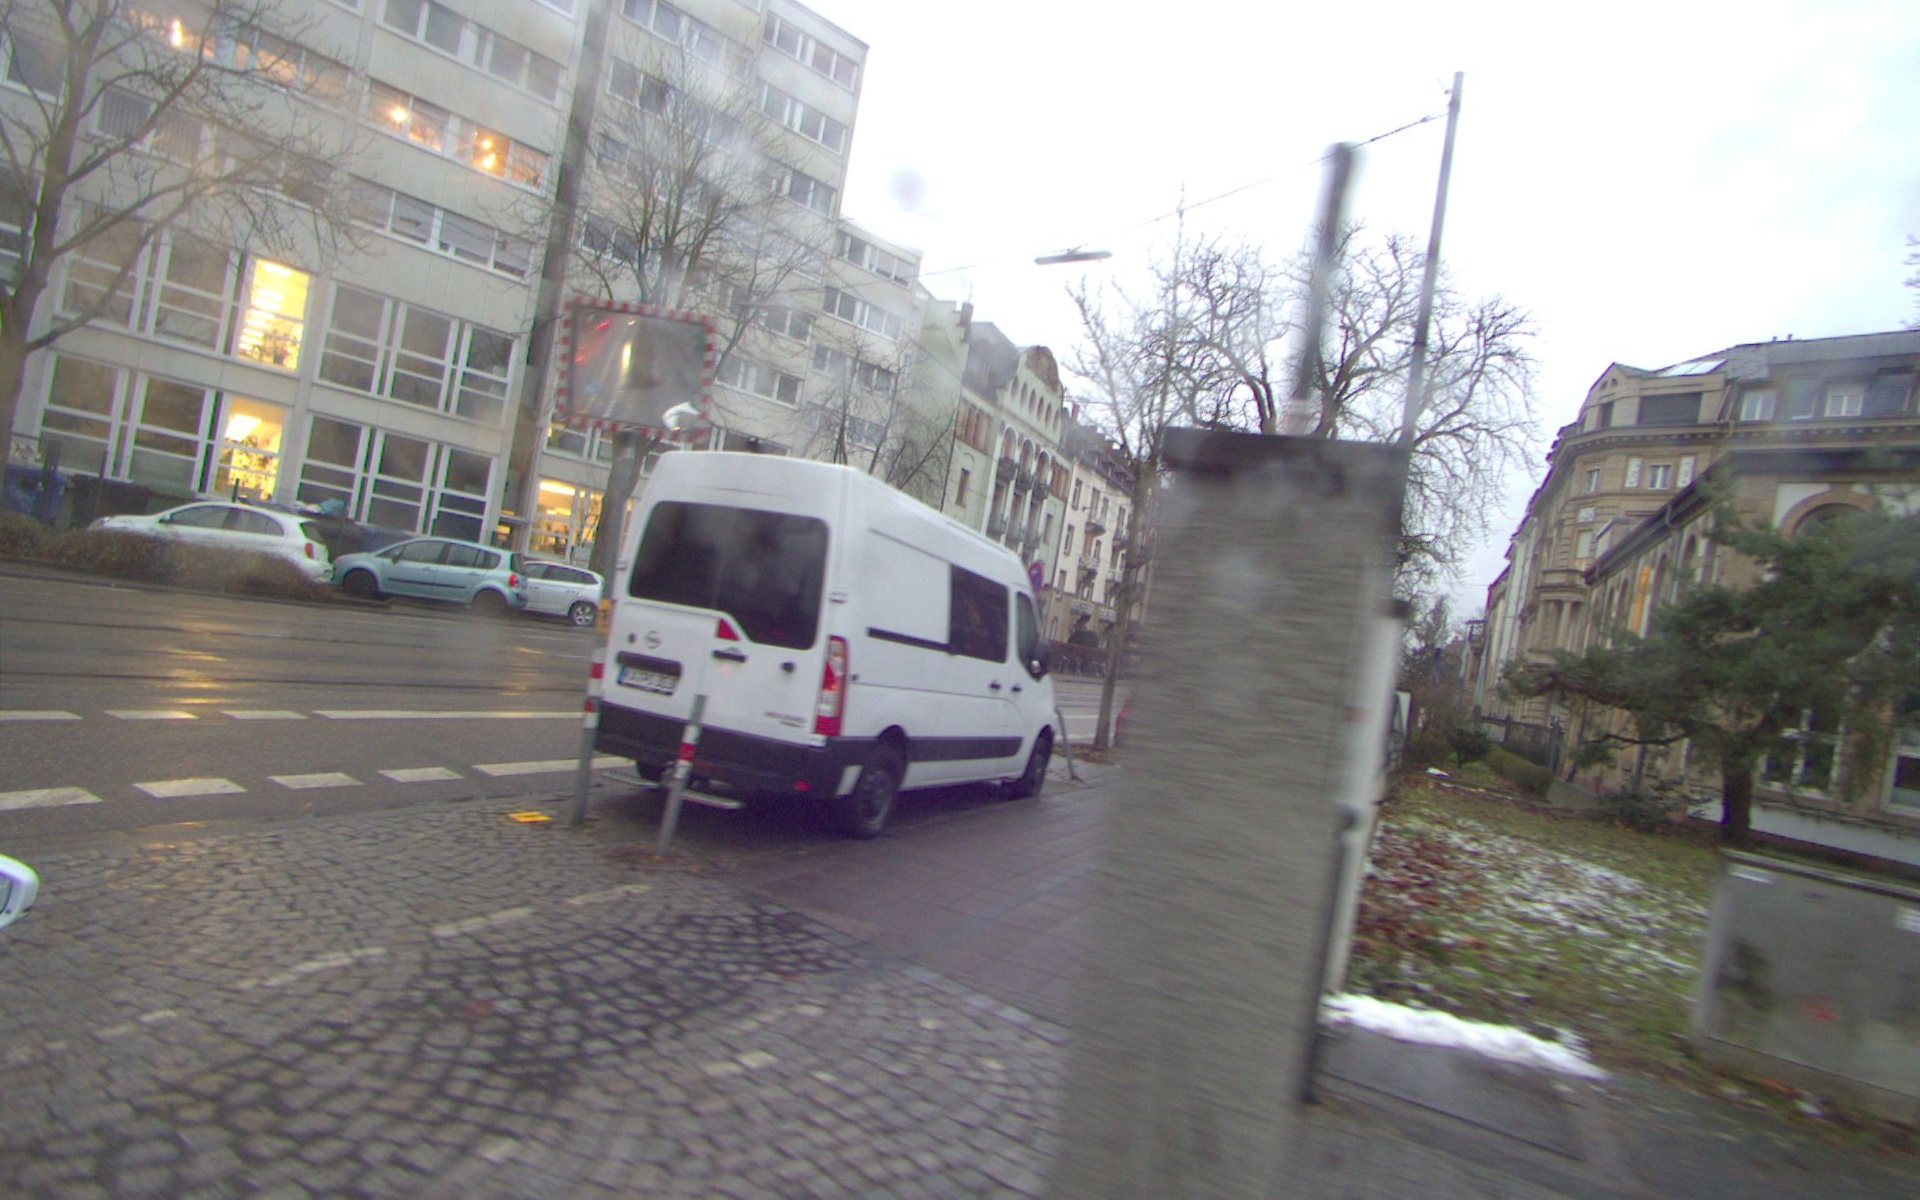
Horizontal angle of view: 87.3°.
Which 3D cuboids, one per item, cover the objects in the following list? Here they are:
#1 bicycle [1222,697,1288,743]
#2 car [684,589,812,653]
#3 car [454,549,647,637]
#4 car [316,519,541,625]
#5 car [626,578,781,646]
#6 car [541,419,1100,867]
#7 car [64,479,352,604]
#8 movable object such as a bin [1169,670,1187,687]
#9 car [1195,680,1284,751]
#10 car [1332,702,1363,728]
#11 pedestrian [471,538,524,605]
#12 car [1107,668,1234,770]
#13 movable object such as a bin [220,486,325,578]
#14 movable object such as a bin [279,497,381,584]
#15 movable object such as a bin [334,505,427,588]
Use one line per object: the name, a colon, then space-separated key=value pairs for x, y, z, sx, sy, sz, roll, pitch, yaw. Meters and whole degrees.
bicycle: x=8.908 y=3.613 z=30.381 sx=1.688 sy=1.083 sz=0.663 roll=9 pitch=0 yaw=26
car: x=-7.061 y=0.711 z=33.748 sx=3.935 sy=1.479 sz=1.735 roll=10 pitch=-2 yaw=-10
car: x=-10.034 y=-0.143 z=24.919 sx=3.933 sy=1.459 sz=1.736 roll=10 pitch=-2 yaw=-8
car: x=-11.562 y=-0.585 z=22.200 sx=3.943 sy=1.581 sz=1.731 roll=10 pitch=-1 yaw=-17
car: x=-7.875 y=0.371 z=30.929 sx=4.294 sy=1.367 sz=1.741 roll=10 pitch=-2 yaw=-23
car: x=-0.642 y=0.412 z=8.841 sx=2.092 sy=2.515 sz=5.441 roll=9 pitch=-1 yaw=23
car: x=-13.913 y=-1.036 z=18.887 sx=3.824 sy=1.569 sz=1.685 roll=10 pitch=-1 yaw=-20
movable object such as a bin: x=23.048 y=8.306 z=106.268 sx=1.388 sy=1.548 sz=1.365 roll=9 pitch=-1 yaw=25
car: x=7.743 y=3.146 z=27.648 sx=1.666 sy=1.537 sz=3.638 roll=9 pitch=-1 yaw=24
car: x=27.717 y=8.214 z=71.921 sx=1.652 sy=1.476 sz=4.044 roll=9 pitch=-2 yaw=24
pedestrian: x=-12.837 y=-0.783 z=27.961 sx=0.588 sy=1.696 sz=0.973 roll=9 pitch=0 yaw=25
car: x=4.253 y=2.290 z=19.902 sx=1.618 sy=1.541 sz=3.574 roll=10 pitch=-1 yaw=23
movable object such as a bin: x=-16.529 y=-1.622 z=24.198 sx=1.547 sy=1.882 sz=1.317 roll=9 pitch=0 yaw=27
movable object such as a bin: x=-15.942 y=-1.492 z=25.461 sx=1.547 sy=1.882 sz=1.392 roll=9 pitch=0 yaw=26
movable object such as a bin: x=-15.348 y=-1.402 z=26.673 sx=1.547 sy=1.882 sz=1.317 roll=9 pitch=0 yaw=27
